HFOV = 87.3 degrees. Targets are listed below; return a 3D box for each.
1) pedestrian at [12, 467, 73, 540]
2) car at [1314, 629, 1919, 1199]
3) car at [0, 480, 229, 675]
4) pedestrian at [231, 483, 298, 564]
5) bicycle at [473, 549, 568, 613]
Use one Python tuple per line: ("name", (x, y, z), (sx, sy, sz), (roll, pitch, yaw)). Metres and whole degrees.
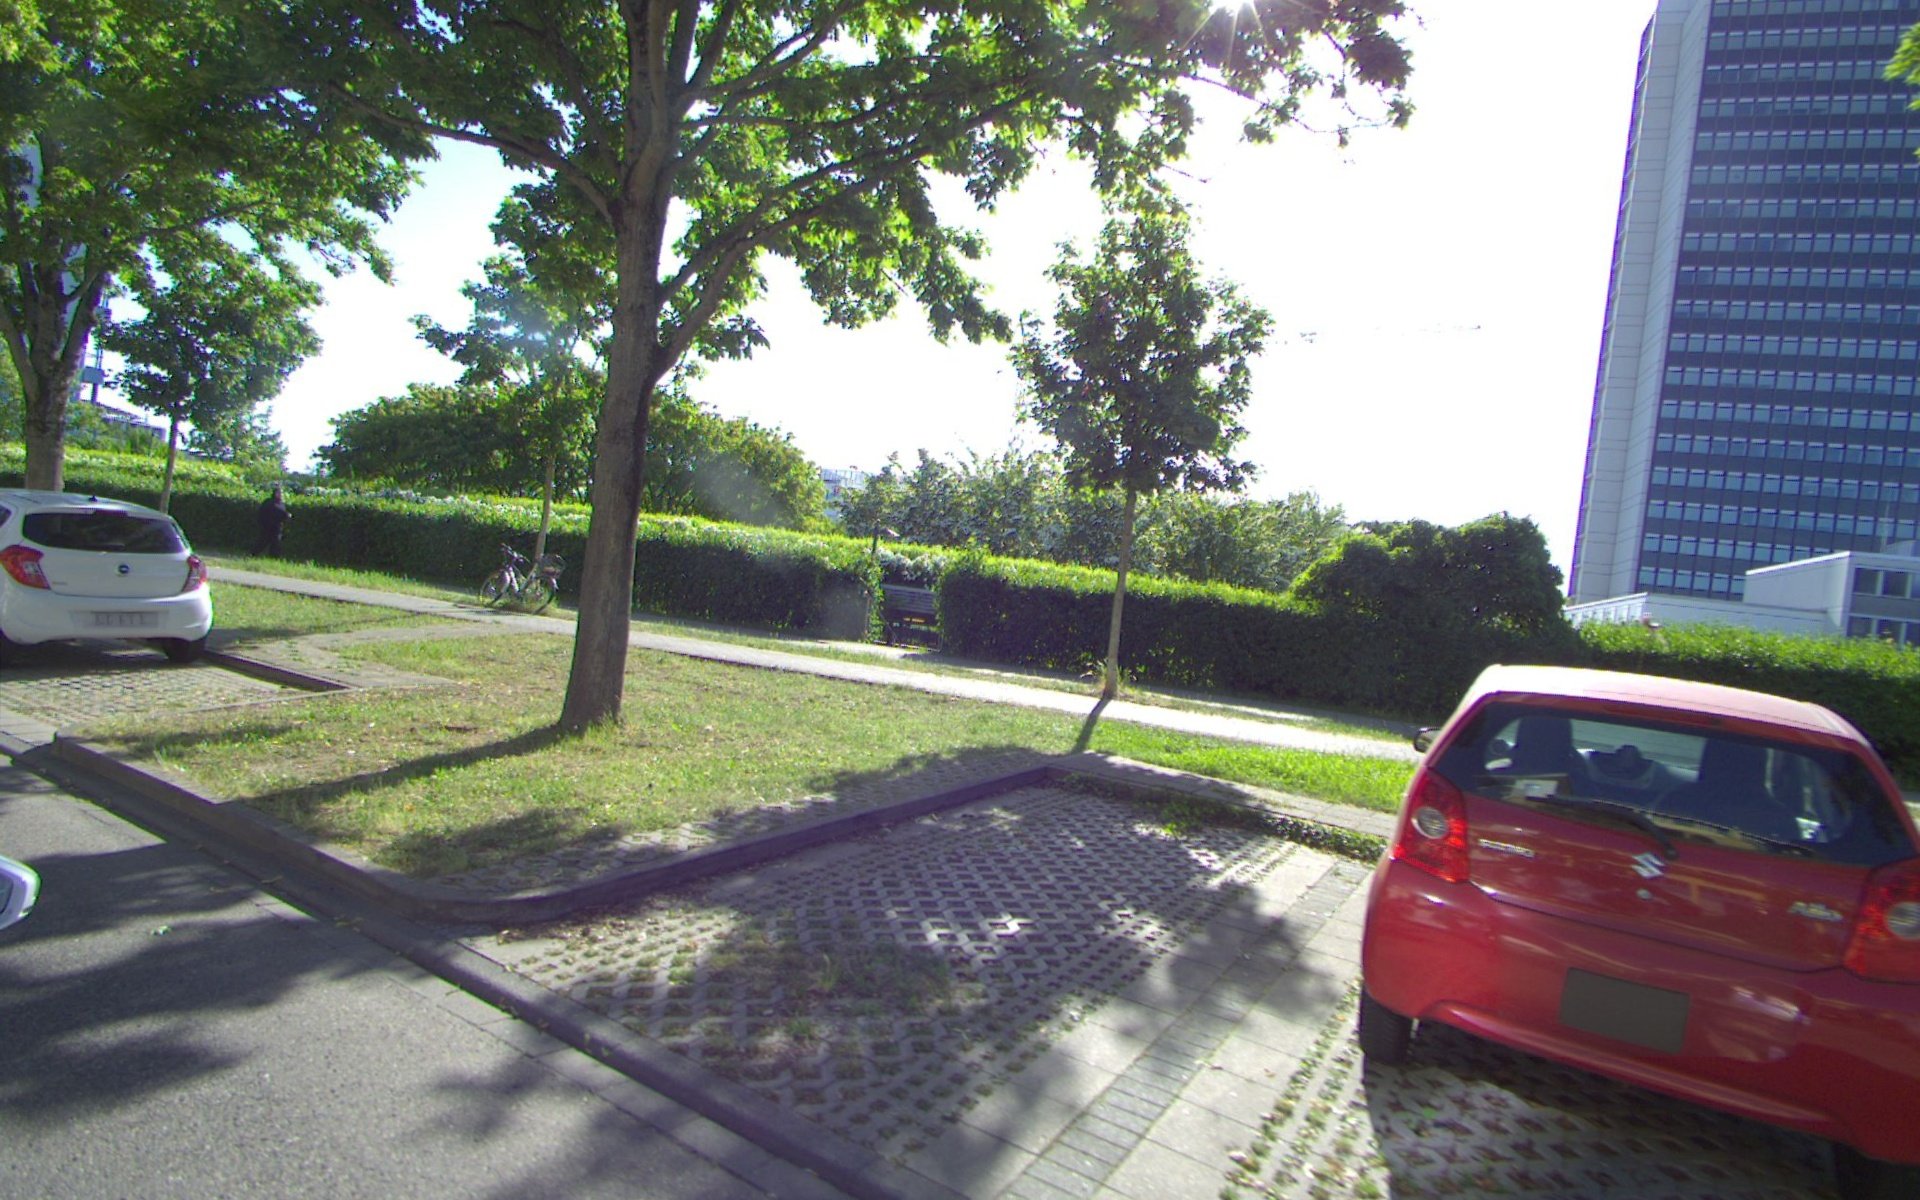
("pedestrian", (-21.597, -2.261, 23.691), (0.920, 1.561, 0.608), (7, 1, 21))
("car", (2.839, 0.998, 4.342), (1.600, 1.565, 3.433), (7, 3, 32))
("car", (-8.905, -0.340, 9.532), (3.699, 1.513, 1.645), (7, 3, 27))
("pedestrian", (-15.085, -1.642, 21.830), (0.837, 1.608, 0.725), (7, 1, 21))
("bicycle", (-7.217, -0.311, 16.541), (1.382, 0.878, 0.347), (7, 2, 7))
